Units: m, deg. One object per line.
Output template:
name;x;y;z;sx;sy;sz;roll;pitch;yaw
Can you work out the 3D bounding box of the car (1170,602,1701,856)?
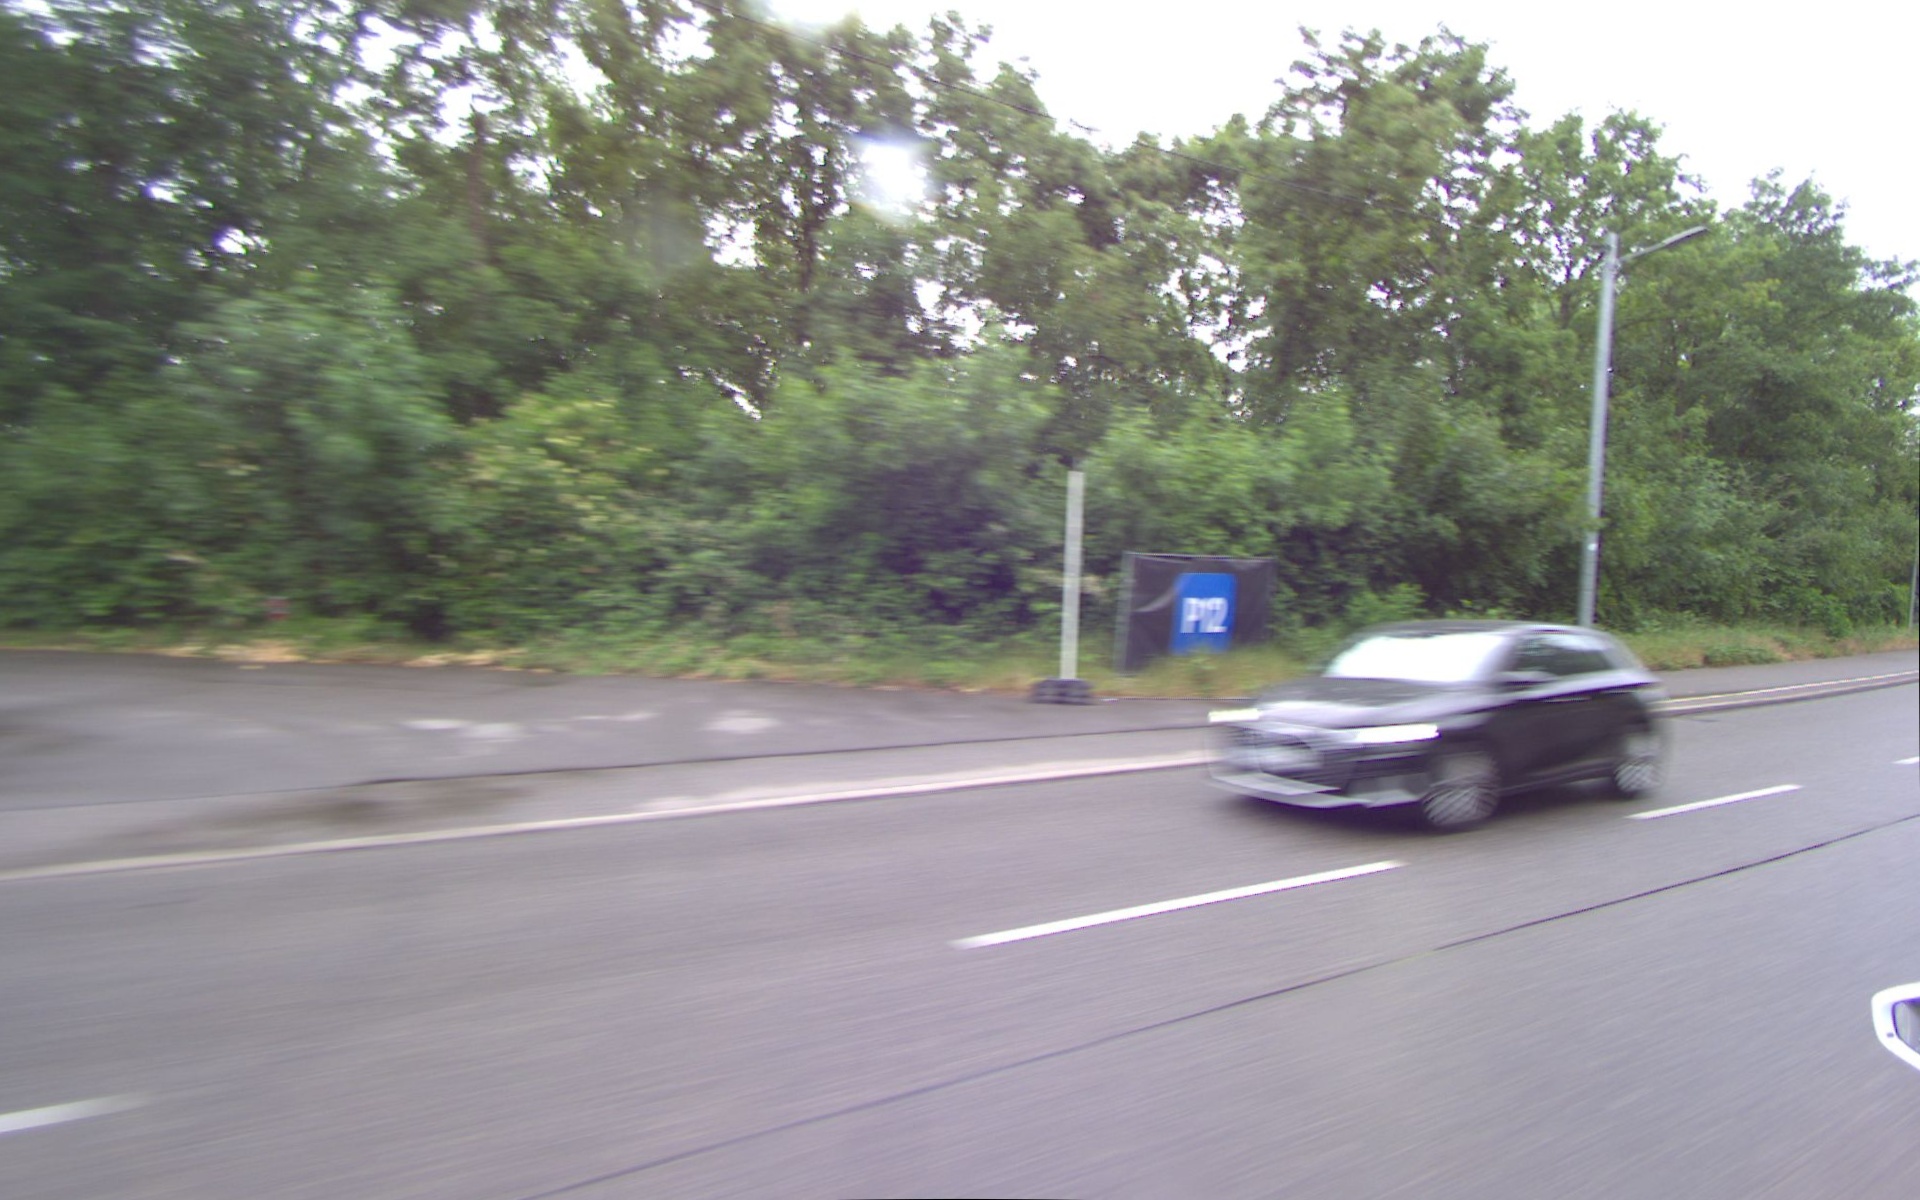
car;3.961;0.839;8.181;4.271;1.518;1.924;1;1;-33
